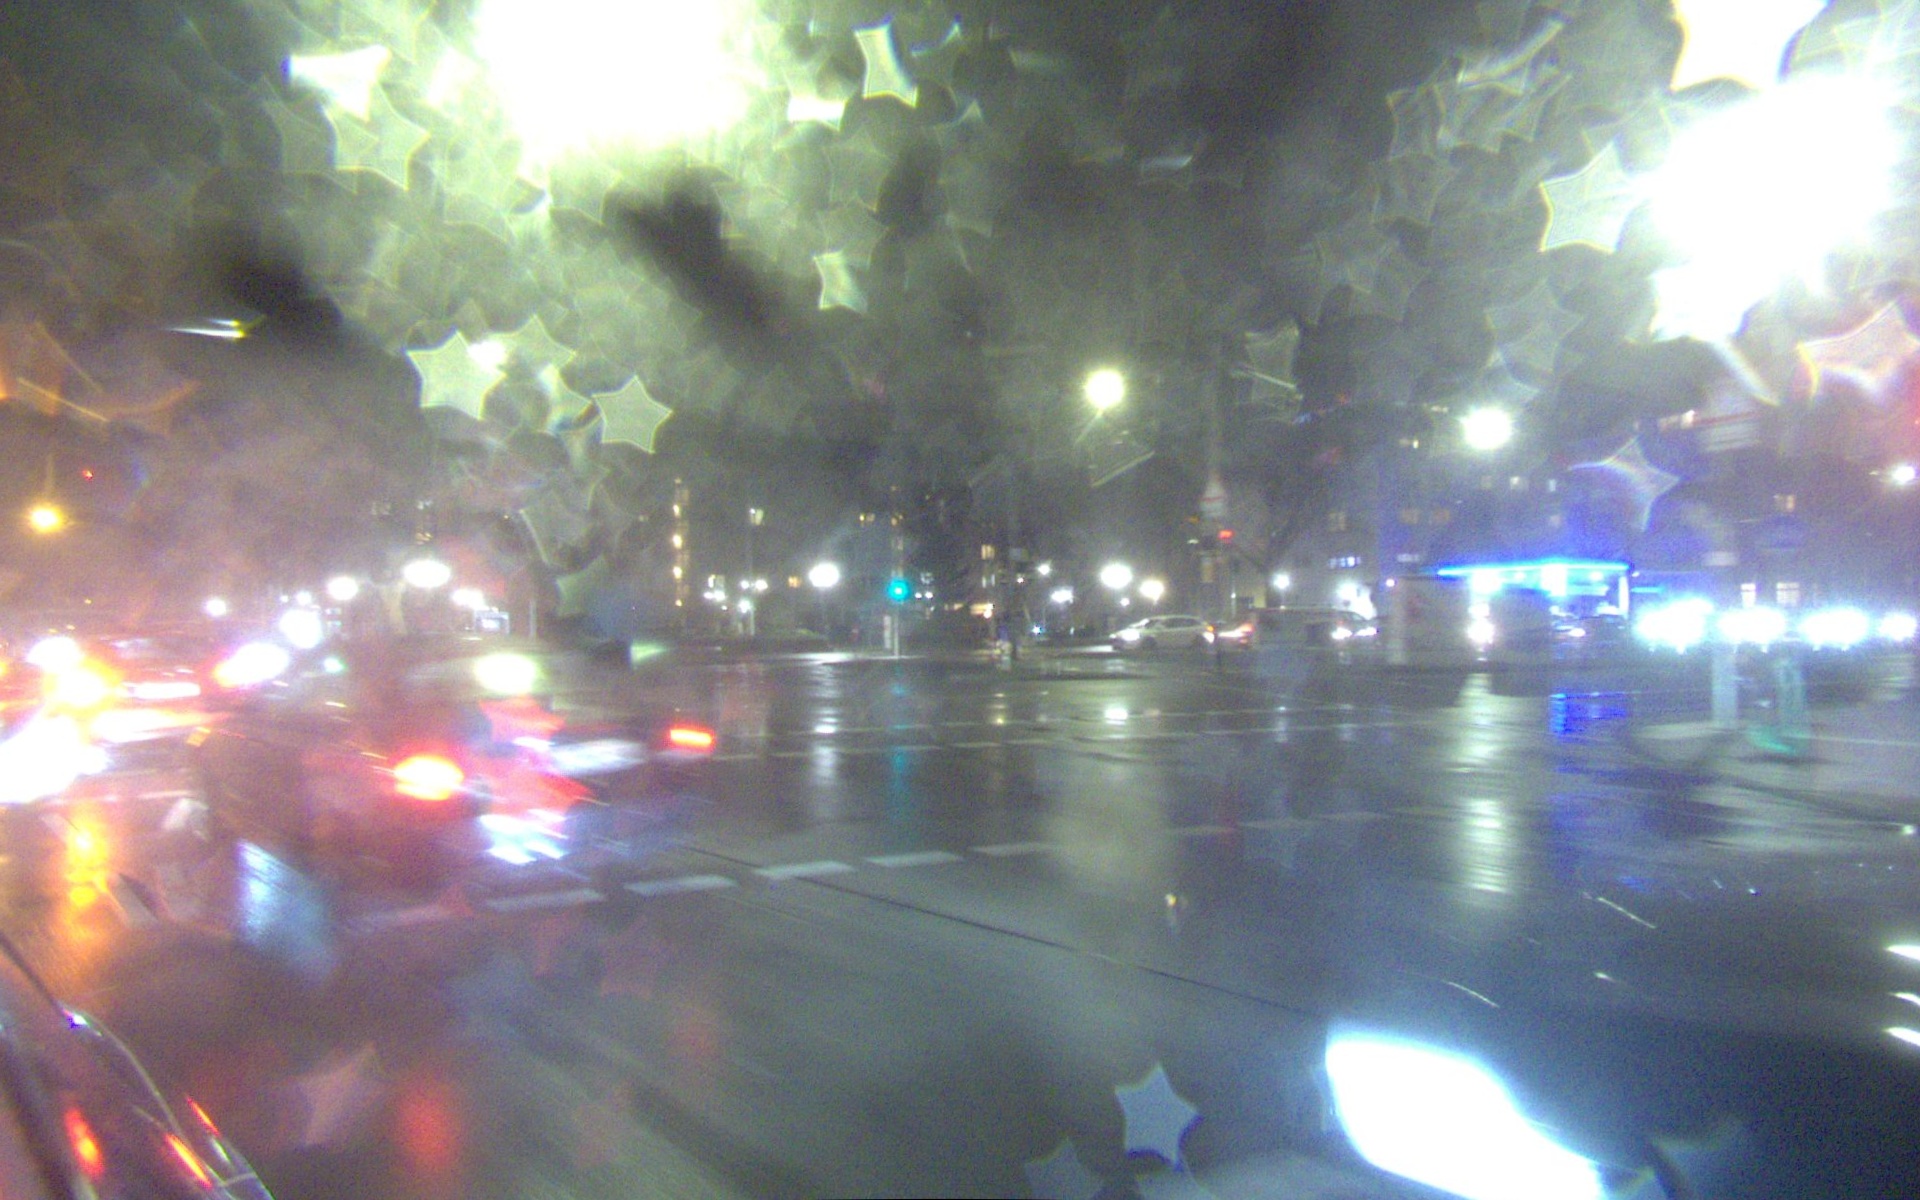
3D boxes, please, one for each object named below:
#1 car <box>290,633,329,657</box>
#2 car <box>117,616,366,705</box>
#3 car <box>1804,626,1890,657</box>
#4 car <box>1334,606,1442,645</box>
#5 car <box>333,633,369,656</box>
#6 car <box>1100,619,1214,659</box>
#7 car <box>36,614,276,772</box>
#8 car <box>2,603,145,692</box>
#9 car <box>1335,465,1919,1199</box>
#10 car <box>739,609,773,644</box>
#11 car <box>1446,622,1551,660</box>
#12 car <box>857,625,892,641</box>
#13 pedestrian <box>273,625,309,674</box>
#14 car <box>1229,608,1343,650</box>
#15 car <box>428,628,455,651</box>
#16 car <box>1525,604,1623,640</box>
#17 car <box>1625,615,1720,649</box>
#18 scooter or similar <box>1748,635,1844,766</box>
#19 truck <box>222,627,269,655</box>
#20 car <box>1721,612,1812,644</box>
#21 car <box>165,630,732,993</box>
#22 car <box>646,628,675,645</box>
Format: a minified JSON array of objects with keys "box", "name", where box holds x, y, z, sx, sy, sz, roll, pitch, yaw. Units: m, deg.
[{"box":[-44.959,3.095,70.027,1.689,1.532,3.931,-1,-2,-24],"name":"car"},{"box":[-13.906,1.128,19.574,4.697,1.554,1.809,-1,-2,24],"name":"car"},{"box":[52.725,2.449,60.152,4.657,1.756,1.904,0,-2,-22],"name":"car"},{"box":[19.775,1.167,46.698,4.657,1.756,1.904,0,-2,-25],"name":"car"},{"box":[-42.384,3.058,70.480,1.689,1.532,3.931,-1,-2,-24],"name":"car"},{"box":[8.155,1.599,41.905,4.258,1.581,1.904,0,-2,-25],"name":"car"},{"box":[-9.723,0.993,12.127,4.007,1.574,1.650,-2,-2,43],"name":"car"},{"box":[-21.918,1.197,24.942,5.198,1.968,2.012,-4,-3,42],"name":"car"},{"box":[2.935,0.602,0.479,4.852,1.566,1.769,-2,-2,42],"name":"car"},{"box":[-16.604,2.178,82.245,1.689,2.752,4.369,-1,-2,-24],"name":"car"},{"box":[26.198,1.964,49.278,4.657,1.756,1.904,0,-2,-22],"name":"car"},{"box":[-8.186,3.153,96.424,1.838,1.454,4.508,-1,-2,-25],"name":"car"},{"box":[-24.571,1.809,37.179,0.758,1.749,0.971,-1,-2,-10],"name":"pedestrian"},{"box":[14.245,1.263,44.231,4.657,1.756,1.904,0,-2,-25],"name":"car"},{"box":[-42.467,3.226,82.952,1.838,1.774,4.508,-1,-2,-25],"name":"car"},{"box":[31.116,1.101,51.248,4.657,1.756,1.904,0,-2,-25],"name":"car"},{"box":[38.466,1.730,54.614,4.657,1.756,1.904,0,-2,-22],"name":"car"},{"box":[8.516,0.988,10.342,0.283,1.249,1.074,-1,-1,14],"name":"scooter or similar"},{"box":[-54.543,3.155,77.353,2.093,2.029,5.279,0,-2,-25],"name":"truck"},{"box":[45.751,1.598,57.390,4.657,1.756,1.904,0,-2,-22],"name":"car"},{"box":[-3.269,0.920,6.061,4.096,1.431,1.651,-2,-2,42],"name":"car"},{"box":[-26.675,3.220,90.003,1.838,1.454,4.508,-1,-2,-25],"name":"car"}]
